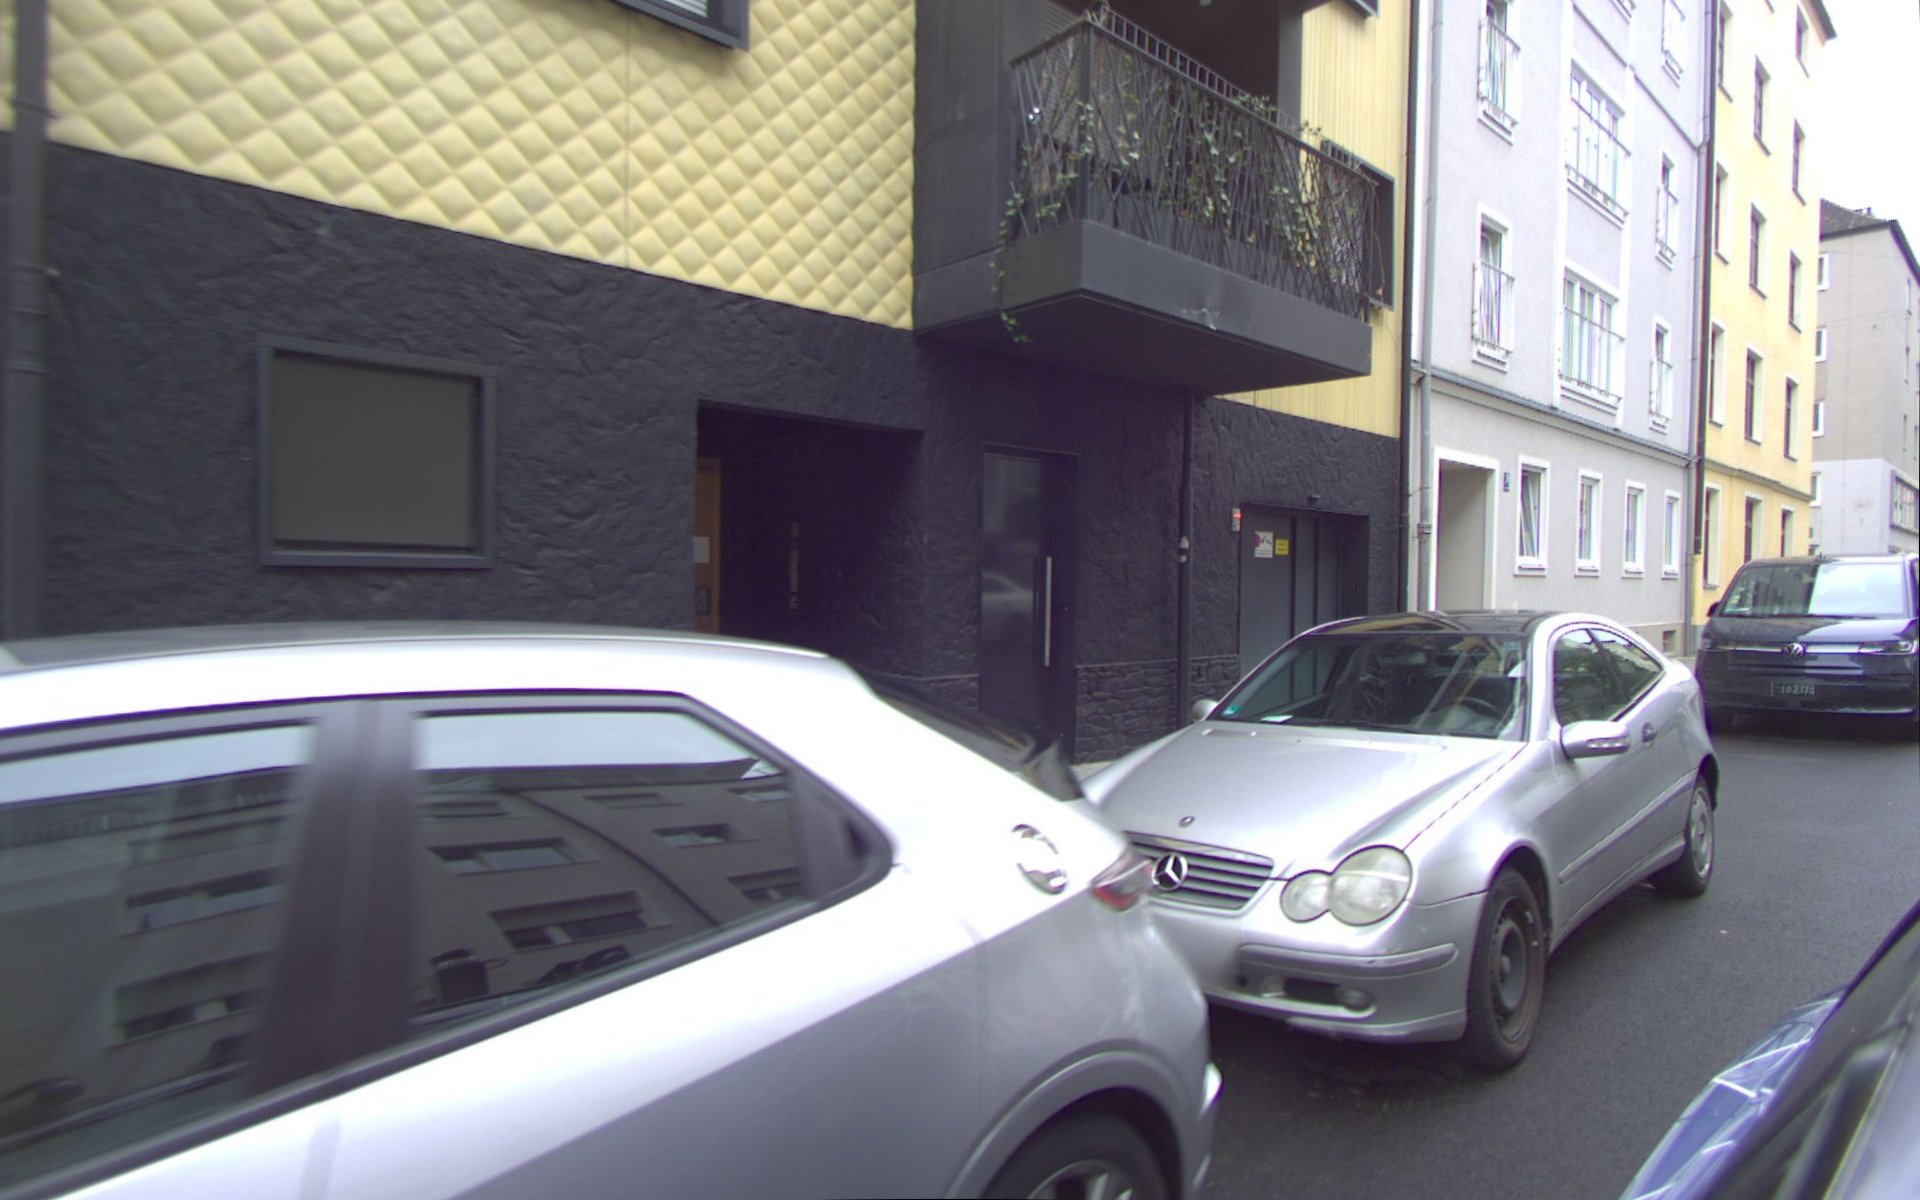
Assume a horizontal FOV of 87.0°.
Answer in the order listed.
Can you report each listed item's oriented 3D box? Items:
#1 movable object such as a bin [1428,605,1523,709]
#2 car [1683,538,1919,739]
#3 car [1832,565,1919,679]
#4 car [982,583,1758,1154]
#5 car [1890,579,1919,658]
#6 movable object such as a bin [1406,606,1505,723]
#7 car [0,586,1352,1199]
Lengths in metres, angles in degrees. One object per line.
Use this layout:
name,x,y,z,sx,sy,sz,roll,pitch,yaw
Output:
movable object such as a bin,5.708,0.607,11.225,0.537,1.067,0.796,-1,1,-42
car,10.215,0.323,11.667,5.095,1.862,1.985,-1,0,-42
car,15.960,0.296,16.569,4.463,1.695,1.965,-1,2,-42
car,2.182,0.664,4.675,4.132,1.447,1.737,-1,2,-43
car,20.153,0.344,20.399,3.791,1.523,1.689,-1,2,-42
movable object such as a bin,5.294,0.662,10.823,0.564,1.153,0.796,-1,1,-42
car,-1.282,0.748,1.418,4.190,1.449,1.761,-1,-1,-43
